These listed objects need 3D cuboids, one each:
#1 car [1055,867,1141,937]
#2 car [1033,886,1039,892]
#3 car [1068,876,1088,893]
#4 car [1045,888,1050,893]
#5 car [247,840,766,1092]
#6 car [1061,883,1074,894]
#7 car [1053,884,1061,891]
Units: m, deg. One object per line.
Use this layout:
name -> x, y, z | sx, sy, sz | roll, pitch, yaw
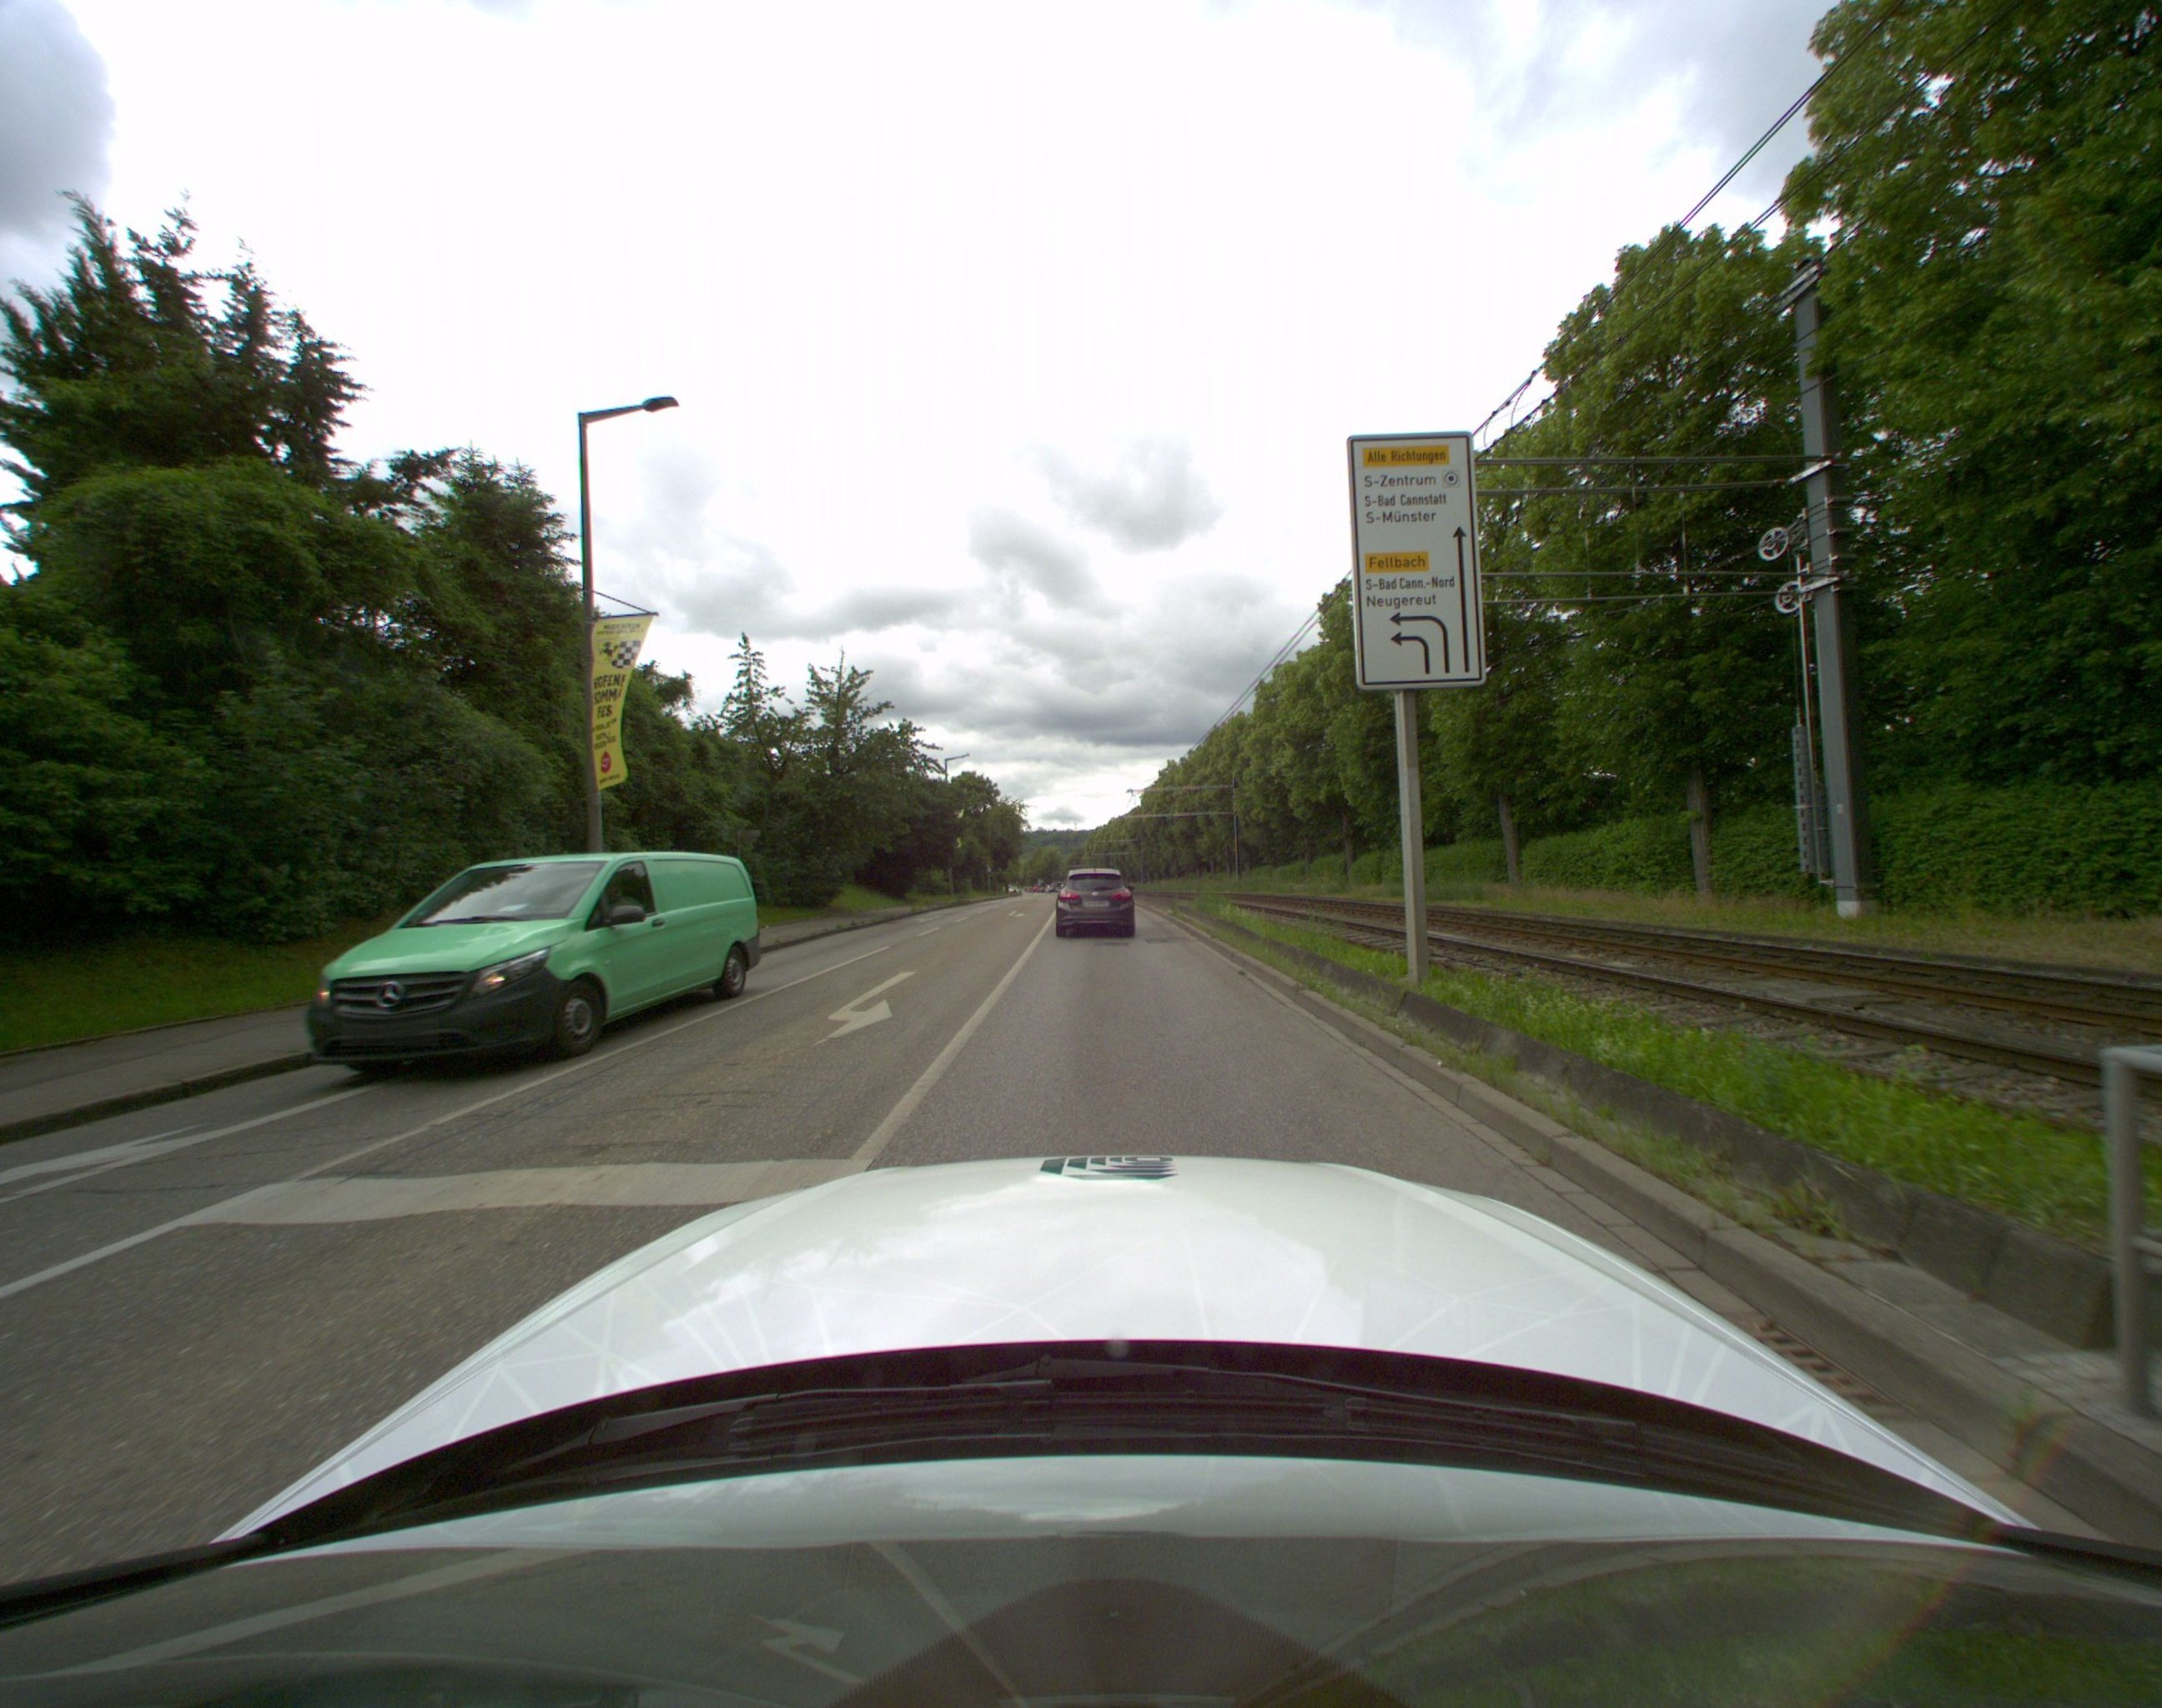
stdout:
car -> 0.404, 1.067, 19.383 | 1.844, 1.493, 4.000 | 0, -1, 1
car -> -14.108, 10.980, 255.980 | 1.695, 1.714, 3.996 | -1, -3, -2
car -> -0.288, 2.692, 71.505 | 1.695, 1.444, 3.997 | -1, -3, -1
car -> -10.224, 11.231, 247.956 | 1.695, 1.476, 3.702 | -1, -3, -2
car -> -5.360, 0.909, 8.660 | 2.052, 1.810, 4.728 | -4, -1, 0
car -> -1.774, 4.594, 107.345 | 1.695, 1.444, 3.996 | -1, -3, -2
car -> -5.231, 7.204, 175.694 | 1.789, 1.511, 3.996 | -1, -3, -2
